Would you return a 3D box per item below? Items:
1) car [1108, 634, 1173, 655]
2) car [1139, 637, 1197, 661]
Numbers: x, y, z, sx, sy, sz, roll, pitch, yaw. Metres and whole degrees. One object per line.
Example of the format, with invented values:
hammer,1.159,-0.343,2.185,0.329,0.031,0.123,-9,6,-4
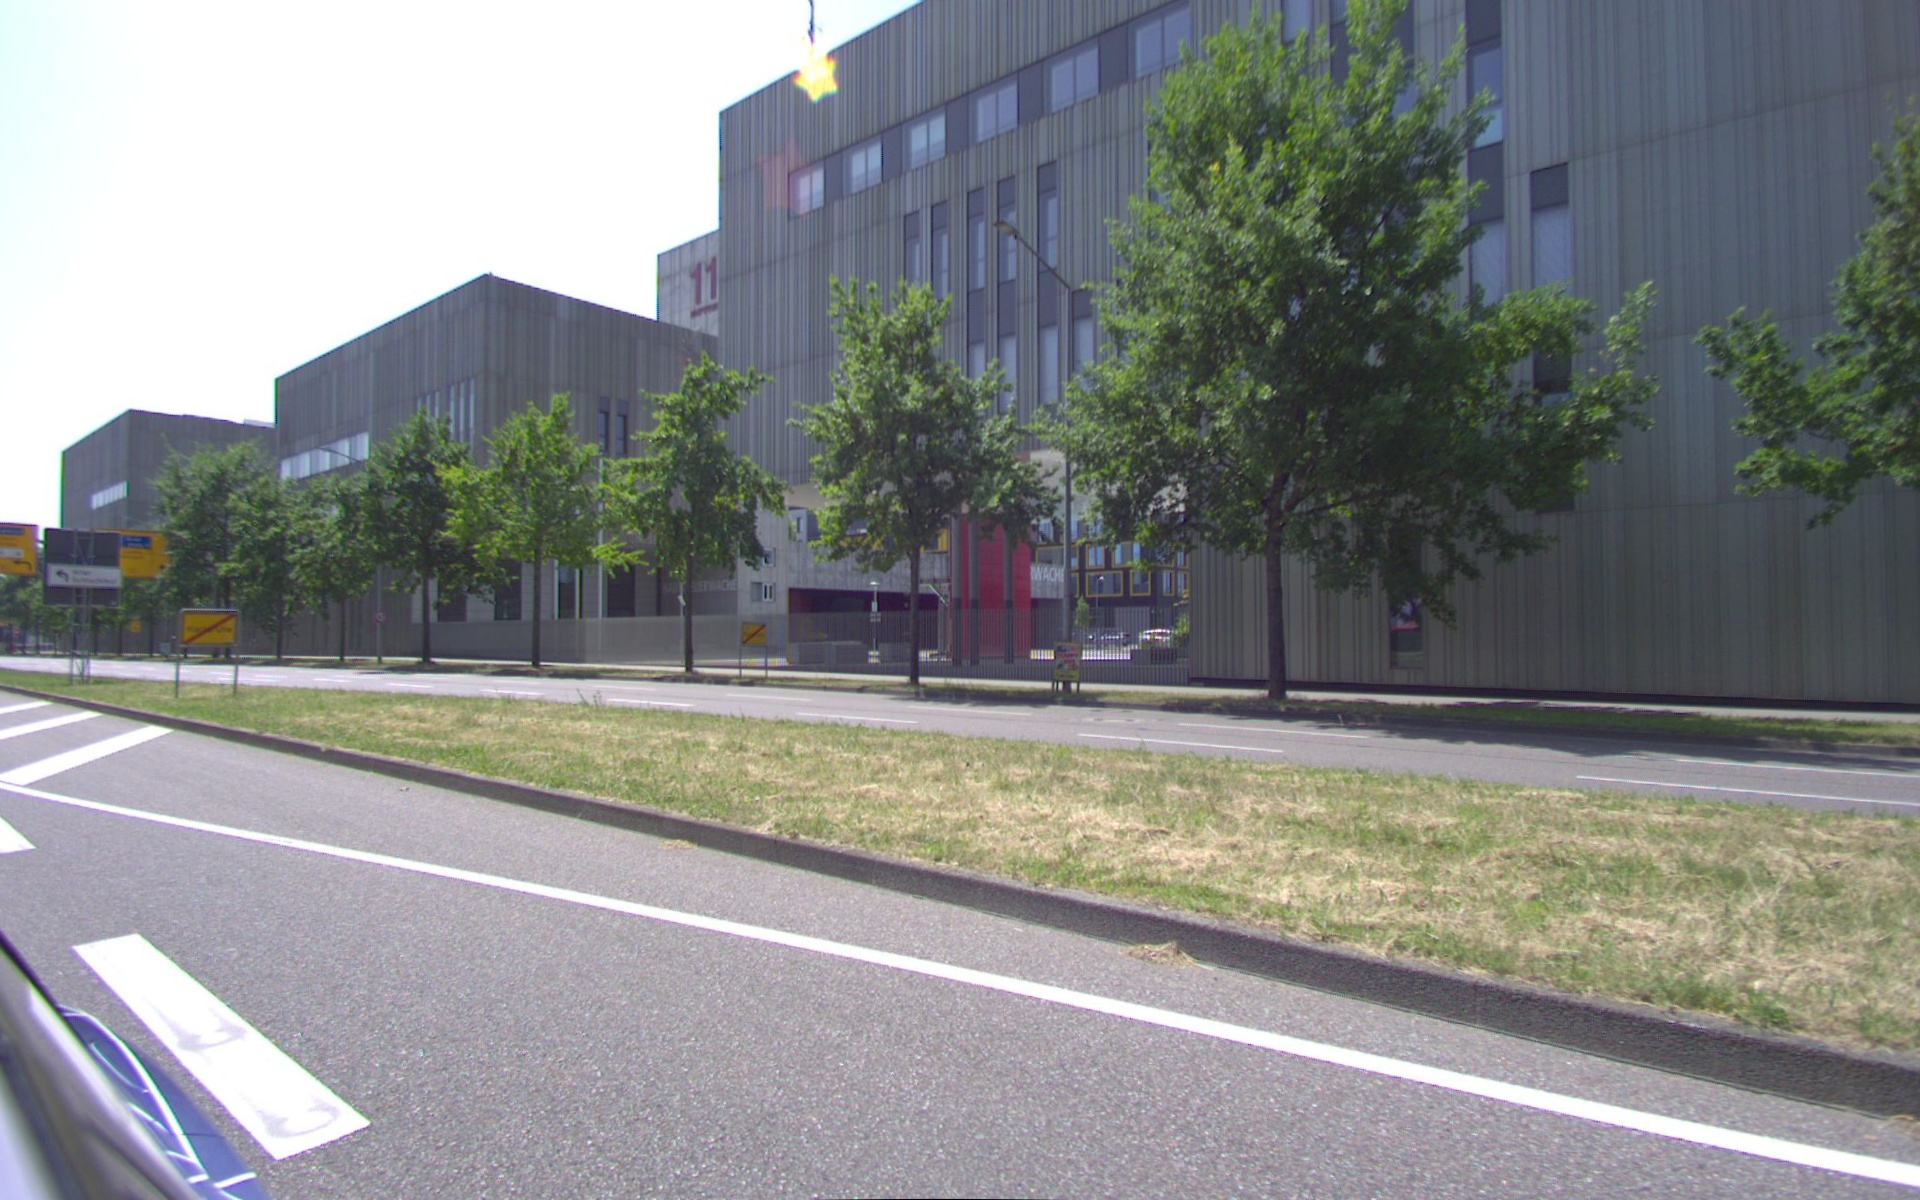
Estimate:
car,12.532,3.088,70.482,3.998,1.398,1.972,-2,-2,41
car,15.024,3.536,73.224,3.773,1.709,1.639,-2,-2,41
